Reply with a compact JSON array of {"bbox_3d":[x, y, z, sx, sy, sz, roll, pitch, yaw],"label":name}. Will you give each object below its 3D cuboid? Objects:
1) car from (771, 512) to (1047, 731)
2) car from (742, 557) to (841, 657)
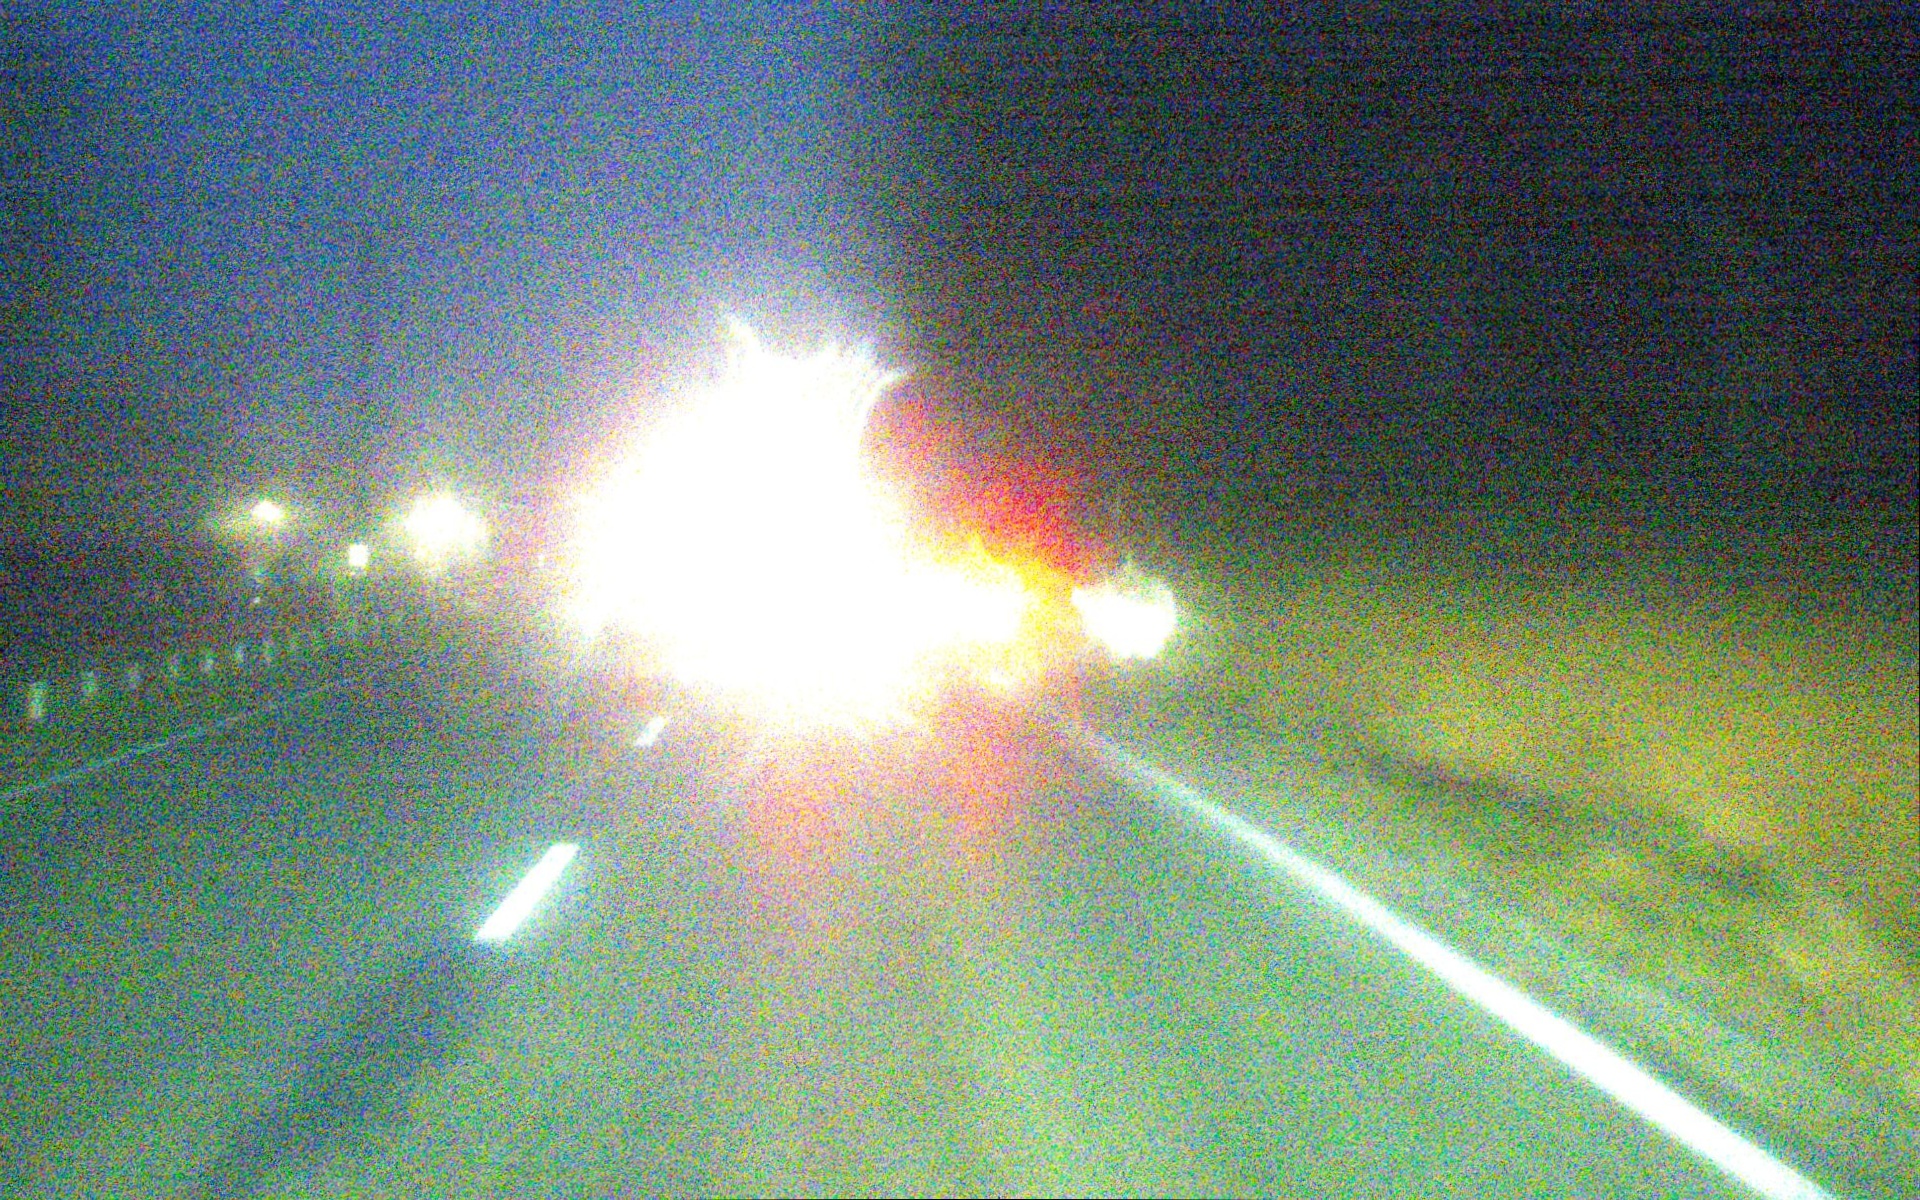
[{"bbox_3d":[-0.591,0.173,33.184,2.457,1.952,4.912,0,0,-3],"label":"car"},{"bbox_3d":[-3.501,0.136,71.446,1.993,2.007,4.000,0,0,-3],"label":"car"}]
